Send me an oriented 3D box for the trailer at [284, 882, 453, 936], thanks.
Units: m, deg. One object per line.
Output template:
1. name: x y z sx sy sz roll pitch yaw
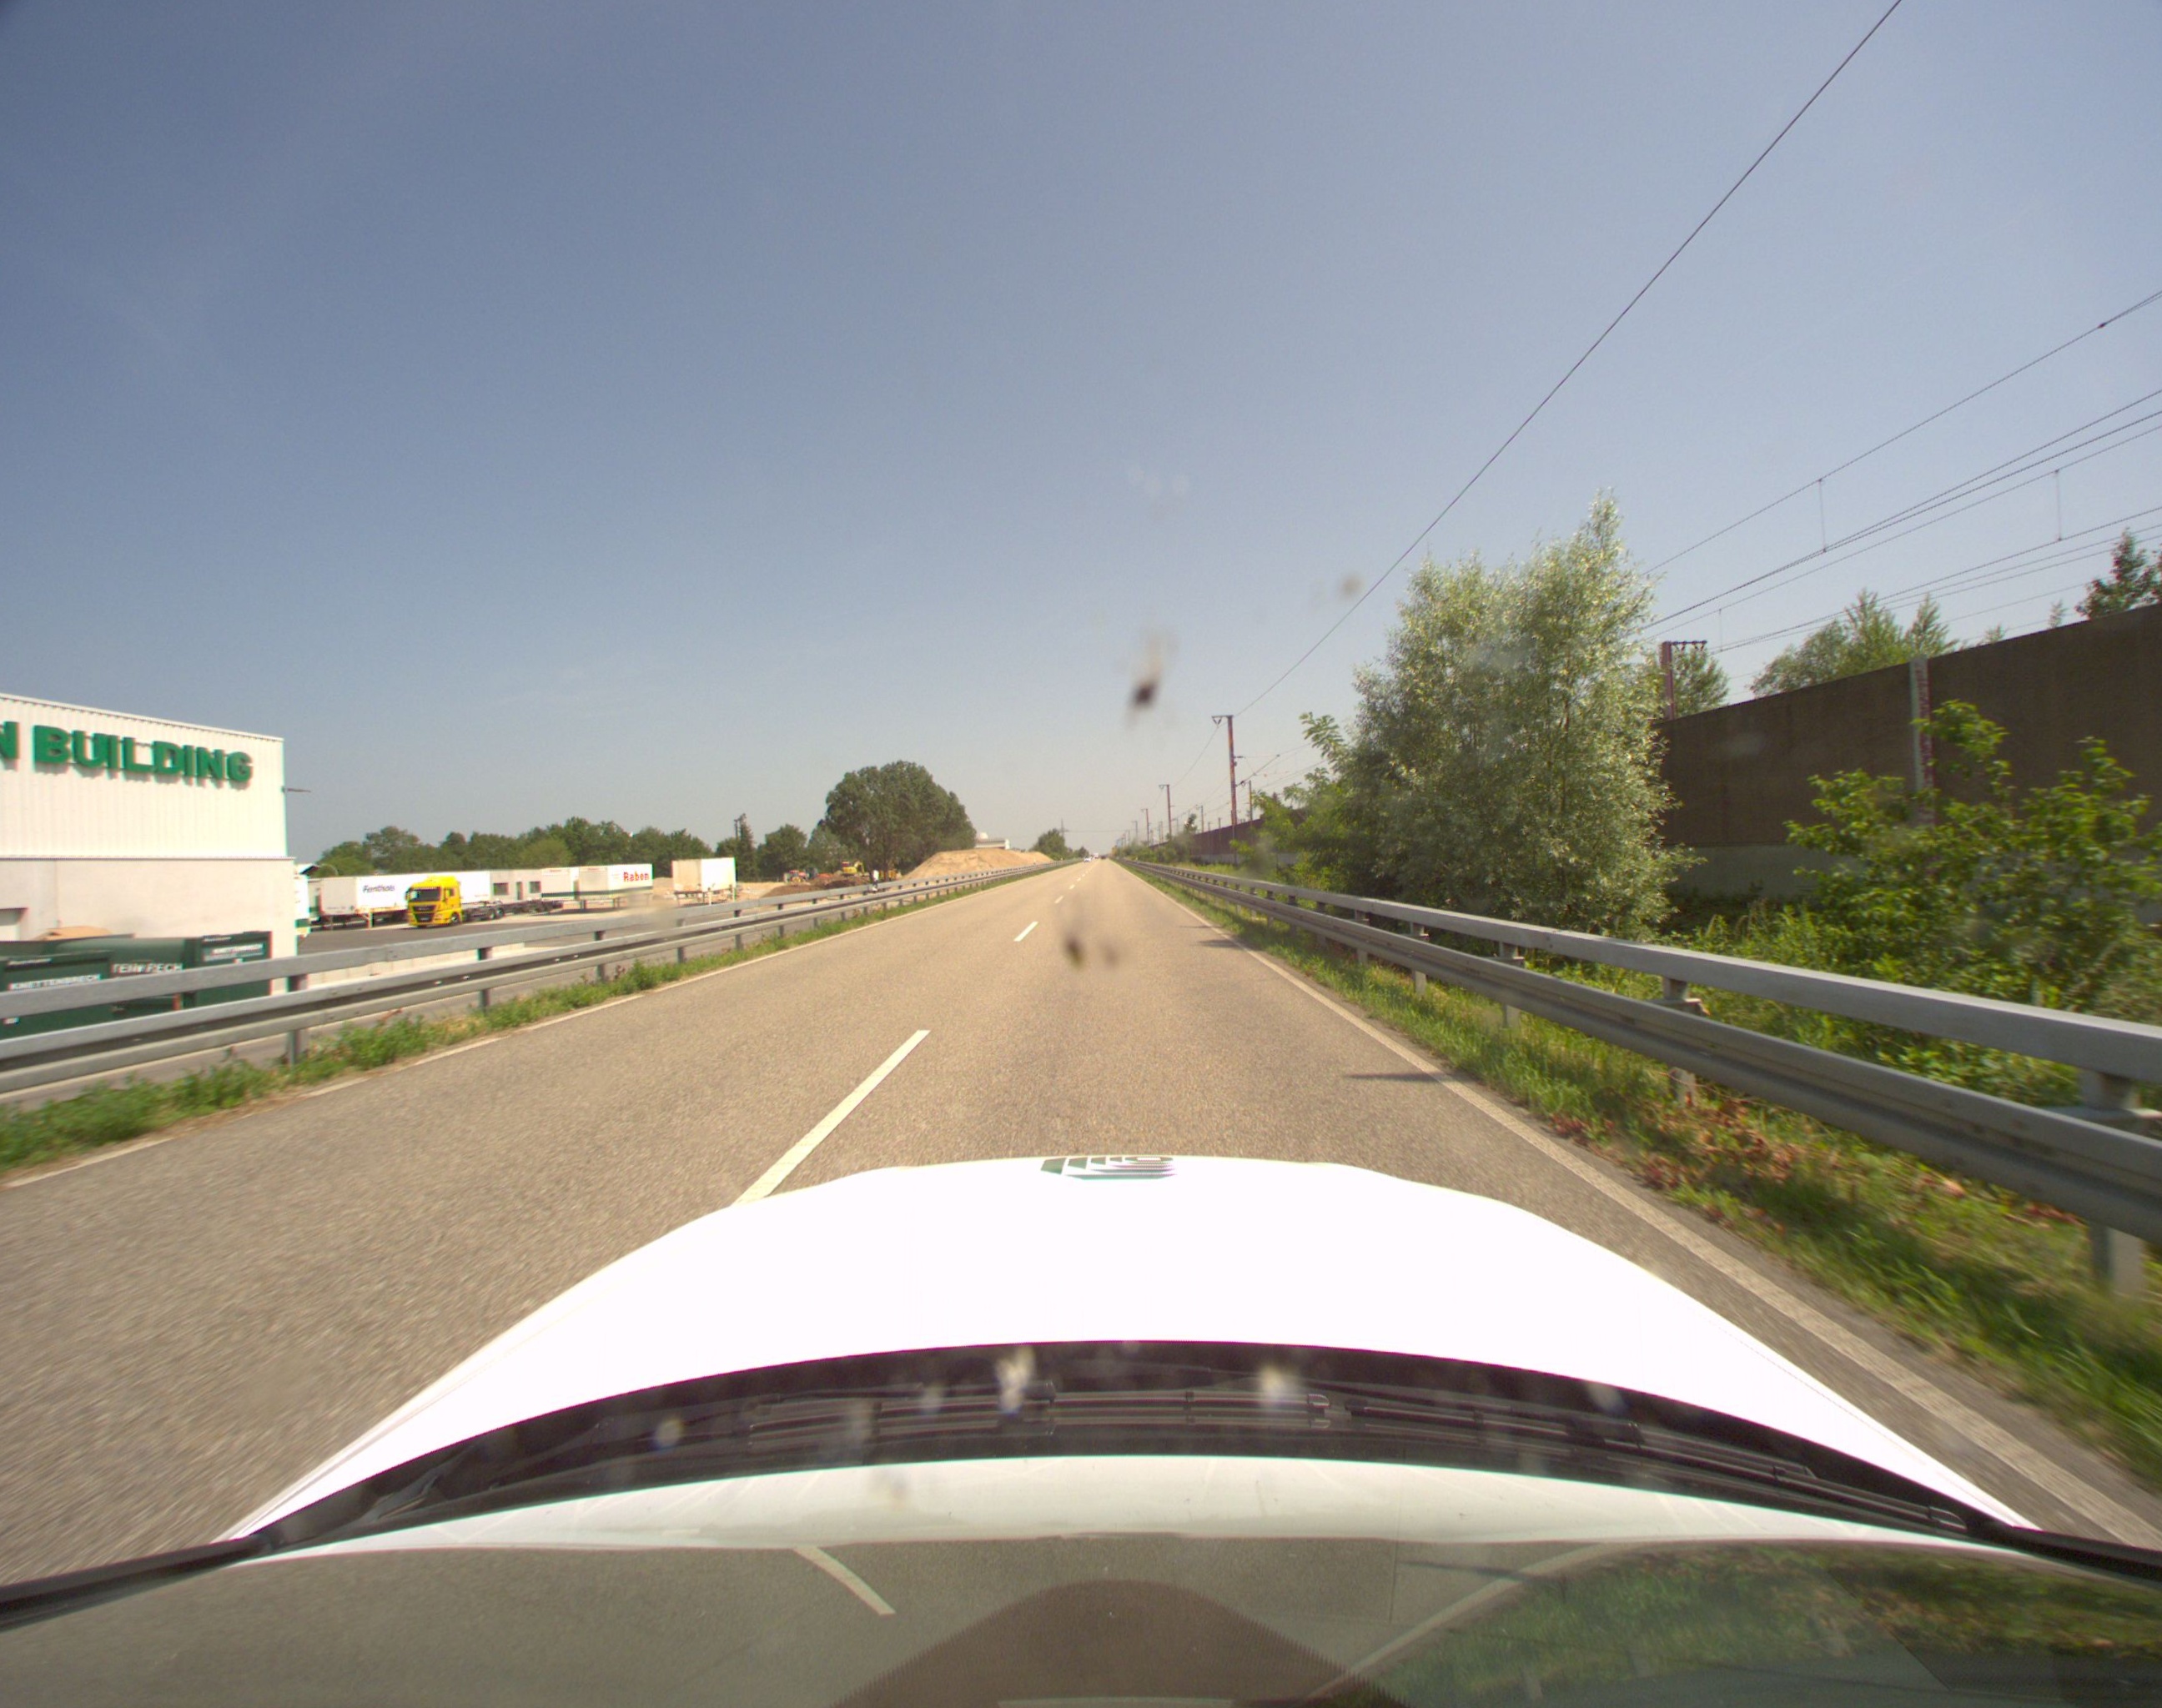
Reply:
1. trailer: -59.962 4.435 69.392 2.650 3.691 14.063 0 0 -3

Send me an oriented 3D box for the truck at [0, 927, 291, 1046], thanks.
1. truck: -23.700 3.258 20.599 5.033 2.537 2.270 -1 -1 -3

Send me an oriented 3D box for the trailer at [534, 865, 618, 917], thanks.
1. trailer: -45.226 3.193 73.205 2.846 4.219 7.535 -2 0 -1

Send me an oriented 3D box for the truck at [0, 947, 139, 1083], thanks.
1. truck: -23.041 3.251 16.628 4.990 2.333 2.233 -2 0 1

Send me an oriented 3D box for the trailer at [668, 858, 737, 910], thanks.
1. trailer: -33.984 2.580 73.490 2.672 4.332 7.945 -2 0 -3

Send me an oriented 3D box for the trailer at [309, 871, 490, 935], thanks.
1. trailer: -56.758 3.822 68.874 2.690 4.260 15.569 -2 0 -3

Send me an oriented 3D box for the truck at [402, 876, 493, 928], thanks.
1. truck: -49.113 3.632 63.381 2.367 3.509 6.835 -2 0 -8

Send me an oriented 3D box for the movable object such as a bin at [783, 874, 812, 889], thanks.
1. movable object such as a bin: -43.971 4.245 126.354 3.991 2.013 1.991 -4 0 -13

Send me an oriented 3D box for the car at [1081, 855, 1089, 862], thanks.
1. car: 0.962 1.042 193.433 1.590 1.576 3.828 -2 0 1

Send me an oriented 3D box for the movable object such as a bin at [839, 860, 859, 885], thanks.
1. movable object such as a bin: -35.439 2.821 124.271 2.627 3.652 5.428 -4 0 -17

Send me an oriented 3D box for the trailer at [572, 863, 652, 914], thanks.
1. trailer: -42.180 2.985 73.613 2.736 4.147 7.894 -2 0 -1

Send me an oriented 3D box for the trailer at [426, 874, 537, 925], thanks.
1. trailer: -49.791 3.612 68.150 2.367 3.509 11.138 -2 0 -8
